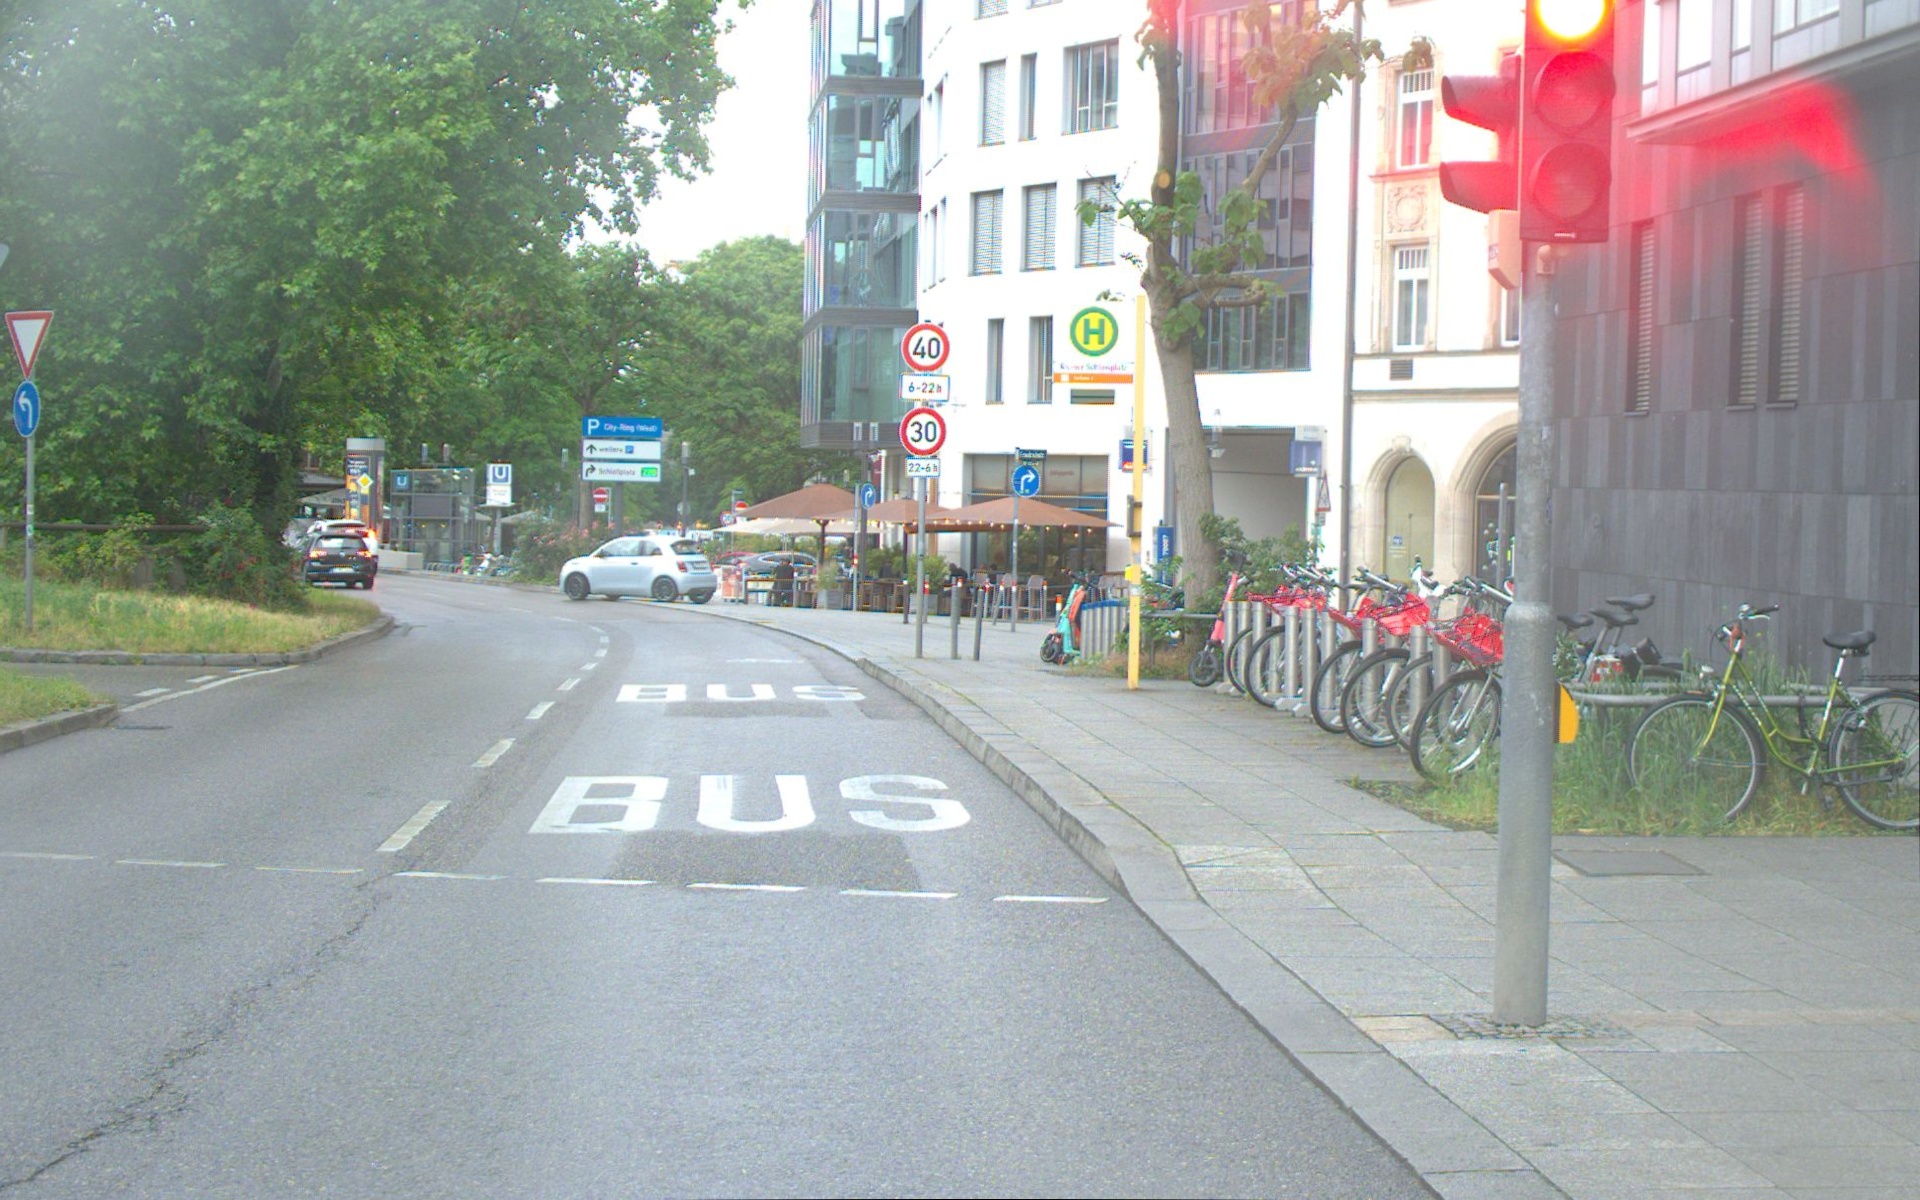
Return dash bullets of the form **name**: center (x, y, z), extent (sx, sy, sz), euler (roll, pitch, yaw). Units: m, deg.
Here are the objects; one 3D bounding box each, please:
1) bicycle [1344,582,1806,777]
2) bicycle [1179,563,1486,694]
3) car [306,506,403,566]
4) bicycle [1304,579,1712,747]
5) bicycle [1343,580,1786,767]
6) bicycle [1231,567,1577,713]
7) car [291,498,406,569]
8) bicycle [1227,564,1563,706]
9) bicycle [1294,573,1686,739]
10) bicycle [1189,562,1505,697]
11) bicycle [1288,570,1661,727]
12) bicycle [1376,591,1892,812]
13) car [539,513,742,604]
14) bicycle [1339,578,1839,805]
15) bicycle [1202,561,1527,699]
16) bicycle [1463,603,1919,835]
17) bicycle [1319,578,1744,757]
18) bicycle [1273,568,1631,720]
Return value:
- **bicycle**: center (3.557, 0.453, 19.970), extent (2.535, 1.083, 0.677), euler (1, 1, -5)
- **bicycle**: center (3.189, 0.238, 29.535), extent (2.535, 1.083, 0.627), euler (1, 1, -5)
- **car**: center (-18.139, -1.932, 102.796), extent (2.178, 1.695, 4.001), euler (1, 1, -20)
- **bicycle**: center (3.575, 0.406, 22.502), extent (2.535, 1.056, 0.677), euler (1, 1, -5)
- **bicycle**: center (3.646, 0.440, 20.825), extent (2.535, 1.083, 0.677), euler (1, 1, -5)
- **bicycle**: center (3.398, 0.302, 26.424), extent (2.535, 1.083, 0.677), euler (1, 1, -5)
- **car**: center (-15.598, -1.714, 87.505), extent (2.161, 1.700, 4.555), euler (1, 1, -19)
- **bicycle**: center (3.424, 0.273, 27.176), extent (2.535, 1.083, 0.677), euler (1, 1, -5)
- **bicycle**: center (3.593, 0.376, 23.411), extent (2.535, 1.083, 0.677), euler (1, 1, -5)
- **bicycle**: center (3.233, 0.242, 28.812), extent (2.535, 1.083, 0.677), euler (1, 1, -5)
- **bicycle**: center (3.671, 0.341, 24.607), extent (2.535, 1.083, 0.677), euler (1, 1, -5)
- **bicycle**: center (3.499, 0.524, 17.942), extent (2.535, 1.083, 0.677), euler (1, 1, -5)
- **car**: center (-7.218, -0.931, 77.781), extent (3.993, 1.641, 1.997), euler (6, 1, 26)
- **bicycle**: center (3.412, 0.490, 18.745), extent (2.535, 1.083, 0.677), euler (3, 1, -5)
- **bicycle**: center (3.289, 0.244, 28.065), extent (2.535, 1.083, 0.677), euler (1, 1, -5)
- **bicycle**: center (3.744, 0.563, 16.465), extent (2.535, 1.053, 0.677), euler (1, 1, -5)
- **bicycle**: center (3.579, 0.420, 21.635), extent (2.535, 1.083, 0.677), euler (1, 1, -5)
- **bicycle**: center (3.648, 0.322, 25.585), extent (2.535, 1.083, 0.677), euler (1, 1, -5)
